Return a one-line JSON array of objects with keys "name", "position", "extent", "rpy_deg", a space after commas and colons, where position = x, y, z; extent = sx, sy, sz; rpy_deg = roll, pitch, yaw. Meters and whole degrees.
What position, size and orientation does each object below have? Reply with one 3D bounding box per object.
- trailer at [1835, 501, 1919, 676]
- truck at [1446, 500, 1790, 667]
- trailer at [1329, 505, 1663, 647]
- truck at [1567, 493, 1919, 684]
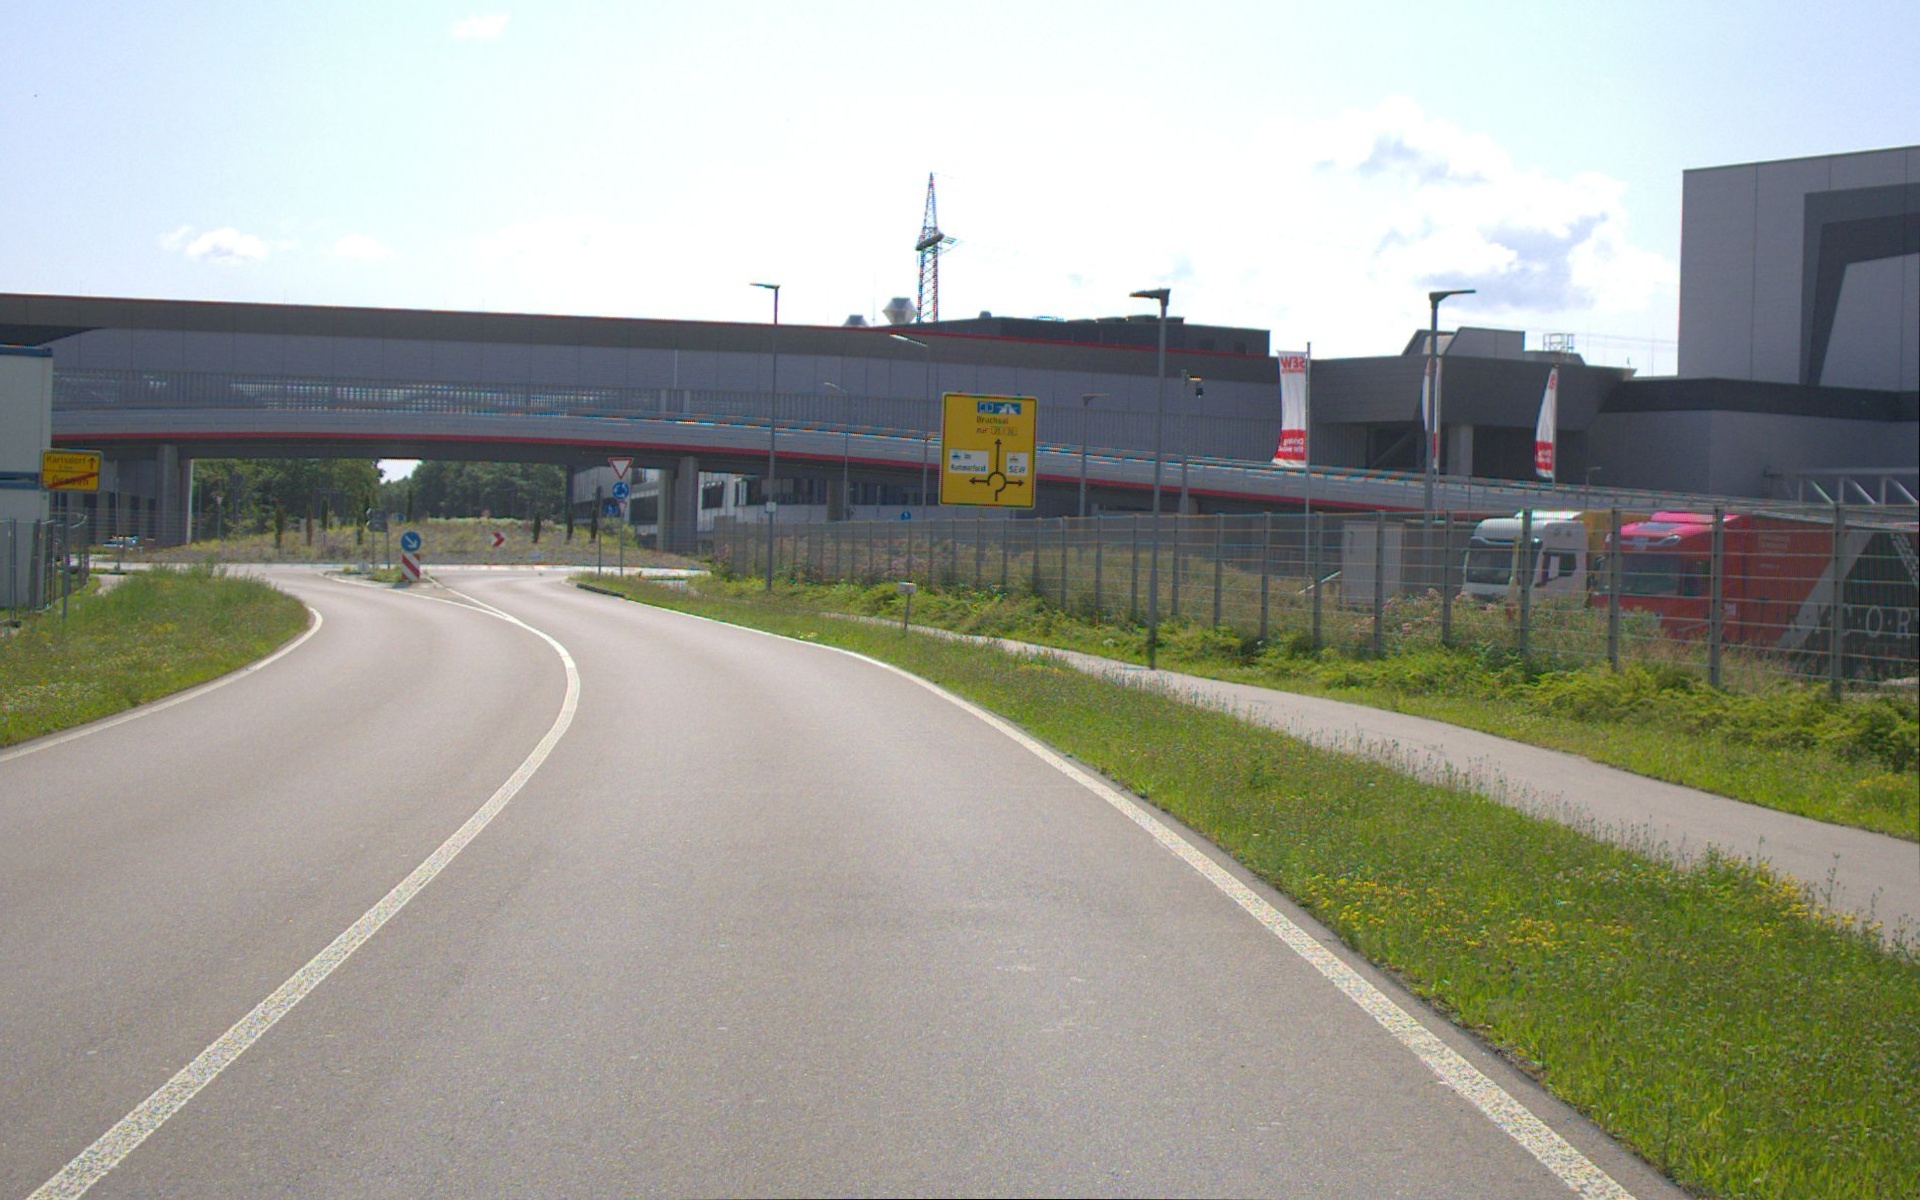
[{"name": "trailer", "position": [26.111, -0.292, 87.695], "extent": [8.691, 4.281, 3.027], "rpy_deg": [0, 1, -42]}, {"name": "truck", "position": [17.384, -0.441, 90.102], "extent": [10.943, 4.158, 2.821], "rpy_deg": [0, 1, -42]}, {"name": "trailer", "position": [17.771, -0.779, 112.753], "extent": [14.025, 4.423, 2.765], "rpy_deg": [0, 1, -43]}, {"name": "truck", "position": [18.910, -0.292, 81.070], "extent": [10.943, 4.242, 3.027], "rpy_deg": [0, 1, -43]}]
